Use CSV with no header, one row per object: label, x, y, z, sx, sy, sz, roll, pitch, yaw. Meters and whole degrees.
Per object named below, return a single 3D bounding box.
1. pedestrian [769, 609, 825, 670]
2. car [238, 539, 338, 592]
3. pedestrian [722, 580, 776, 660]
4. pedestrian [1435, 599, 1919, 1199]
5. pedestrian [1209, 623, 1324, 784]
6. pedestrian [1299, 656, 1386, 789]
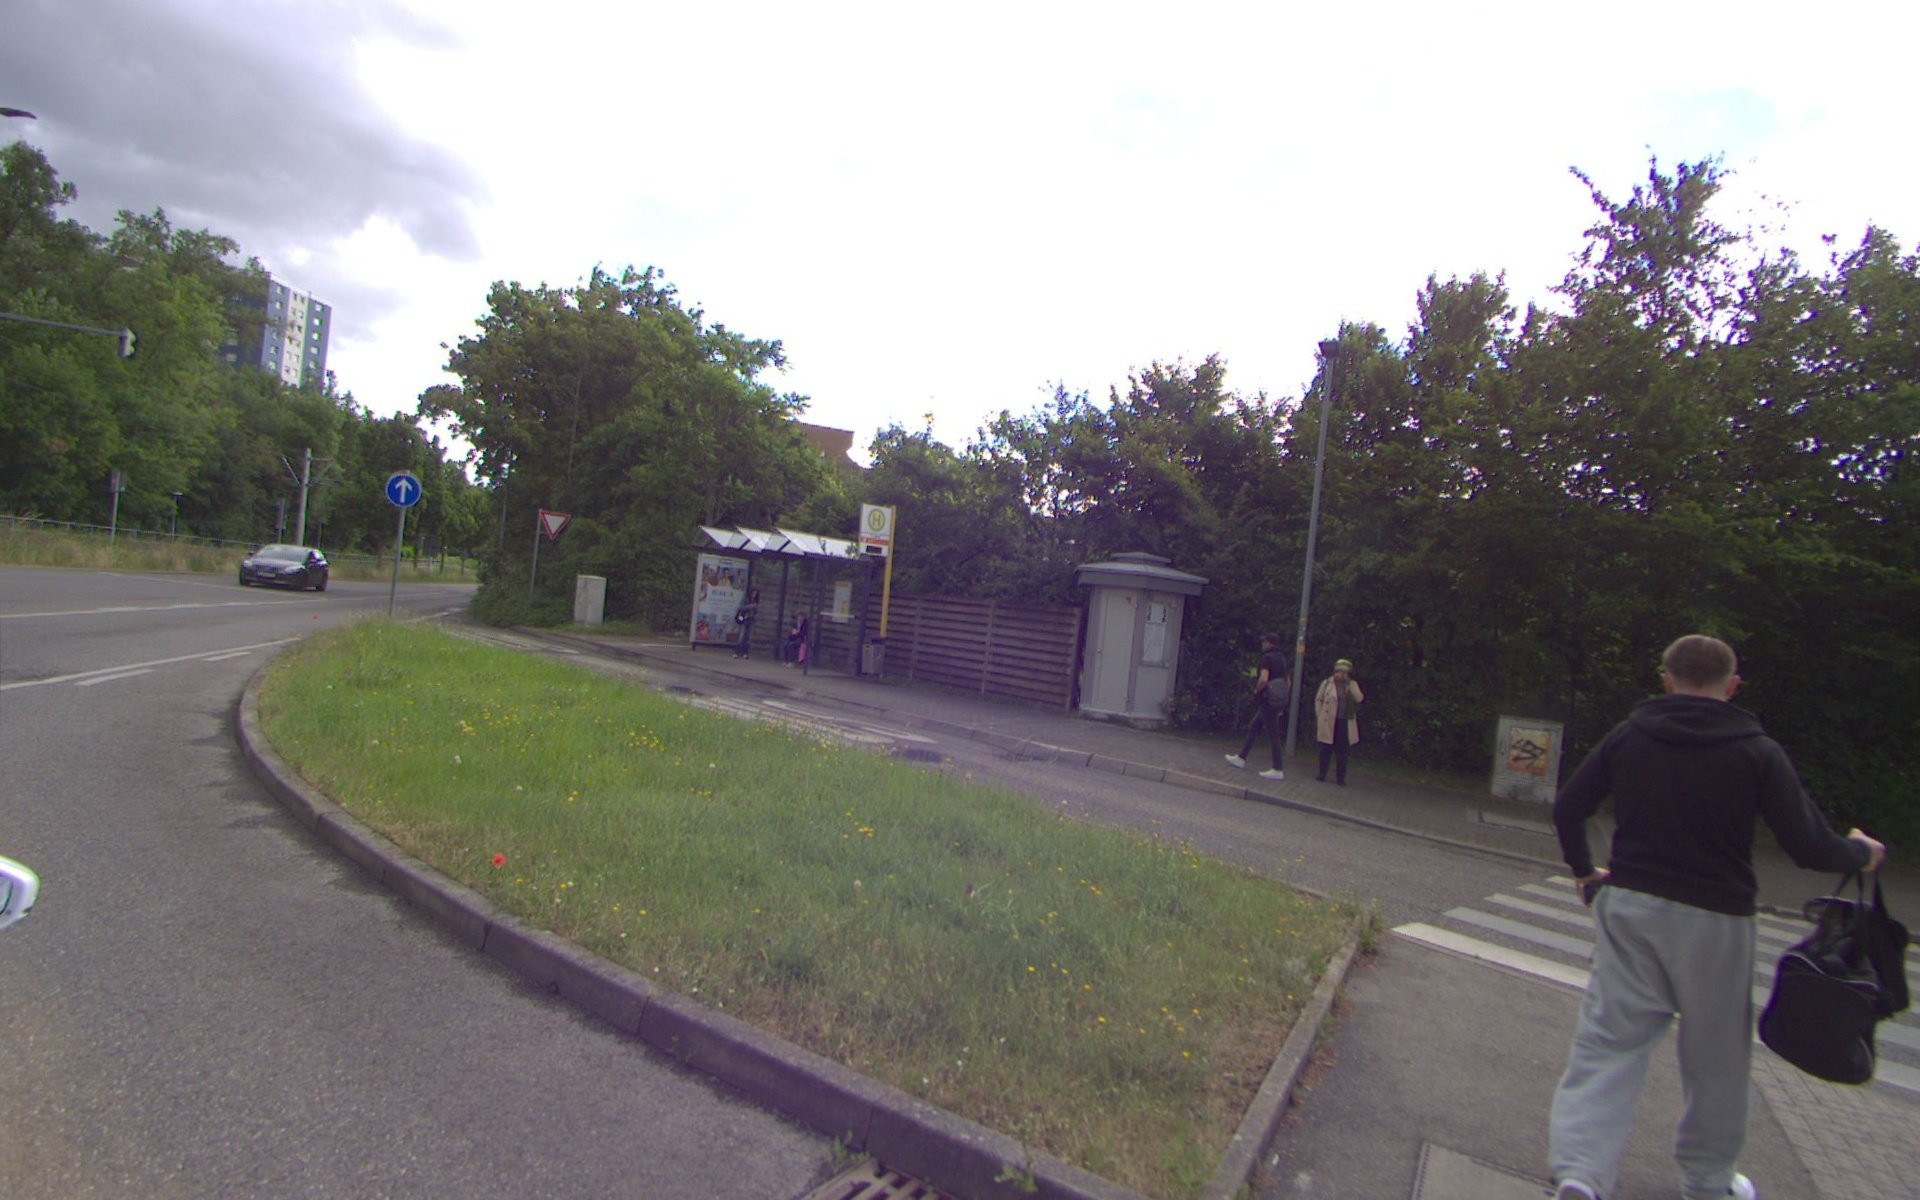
pedestrian,-3.451,0.841,21.295,0.761,1.184,0.747,6,0,41
car,-22.655,-1.122,34.101,1.737,1.451,4.409,7,-2,-21
pedestrian,-4.700,0.440,22.395,0.678,1.670,0.767,6,0,44
pedestrian,2.216,0.955,2.981,1.053,1.768,0.947,7,-1,-38
pedestrian,3.936,1.308,12.908,0.968,1.845,0.855,9,1,33
pedestrian,5.045,1.598,13.256,0.760,1.613,0.684,6,0,38
